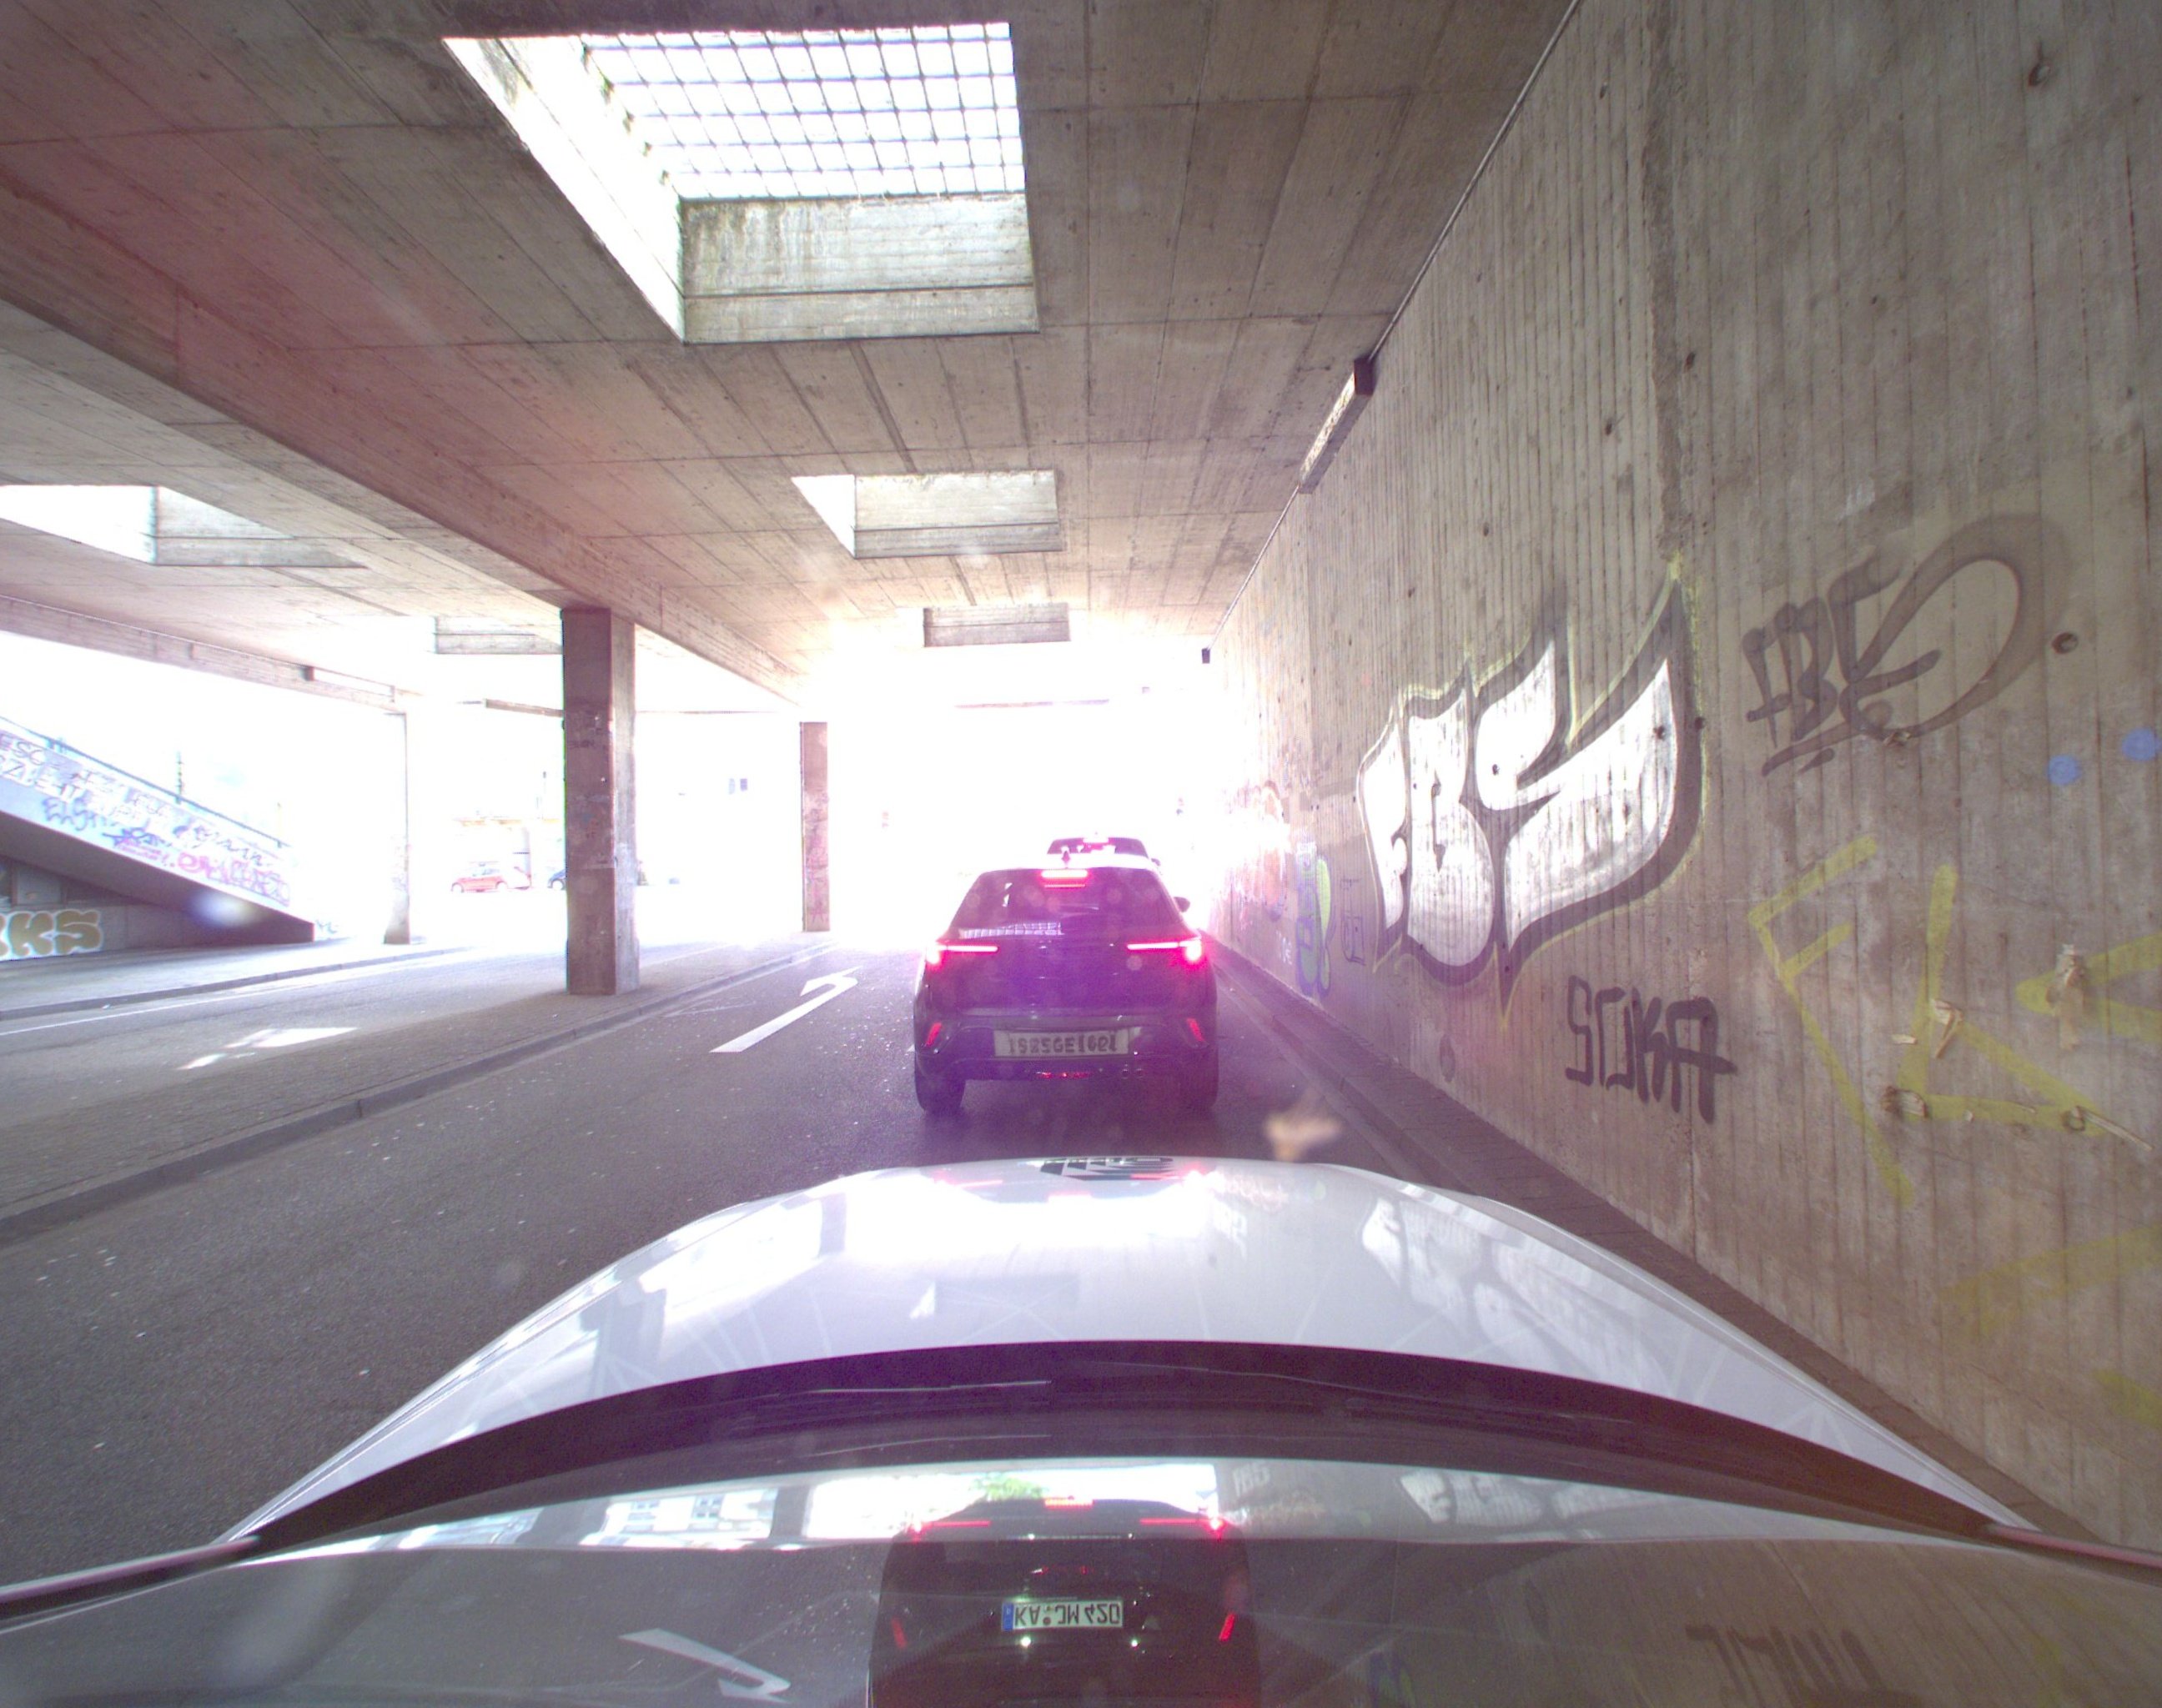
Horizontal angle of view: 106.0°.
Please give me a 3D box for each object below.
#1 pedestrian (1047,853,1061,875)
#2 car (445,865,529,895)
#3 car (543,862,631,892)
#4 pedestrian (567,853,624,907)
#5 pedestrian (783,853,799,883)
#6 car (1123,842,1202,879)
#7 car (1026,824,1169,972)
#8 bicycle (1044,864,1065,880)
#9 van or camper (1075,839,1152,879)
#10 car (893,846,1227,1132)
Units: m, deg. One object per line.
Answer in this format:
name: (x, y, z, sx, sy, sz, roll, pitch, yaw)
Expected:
pedestrian: (-1.908, 0.715, 57.912, 0.729, 1.585, 0.894, 0, -1, 18)
car: (-32.849, 1.435, 45.087, 3.519, 1.506, 1.563, -1, 0, 2)
car: (-27.395, 1.286, 45.263, 3.742, 1.508, 1.752, -2, 0, 0)
pedestrian: (-16.019, 0.838, 26.887, 1.103, 1.737, 1.146, -1, 0, 15)
pedestrian: (-16.759, 0.819, 47.098, 0.719, 1.705, 0.624, 0, -1, -2)
car: (4.156, 0.280, 40.755, 1.974, 1.641, 4.623, -1, 1, 34)
car: (0.274, 0.546, 12.169, 1.779, 1.833, 3.962, -1, 0, 2)
bicycle: (-1.868, 1.270, 57.904, 0.730, 1.130, 2.036, -2, 0, 19)
van or camper: (1.764, 0.274, 43.489, 3.854, 2.013, 2.005, -1, 0, 9)
car: (-0.037, 0.707, 6.279, 1.746, 1.498, 4.002, 0, 0, 2)
